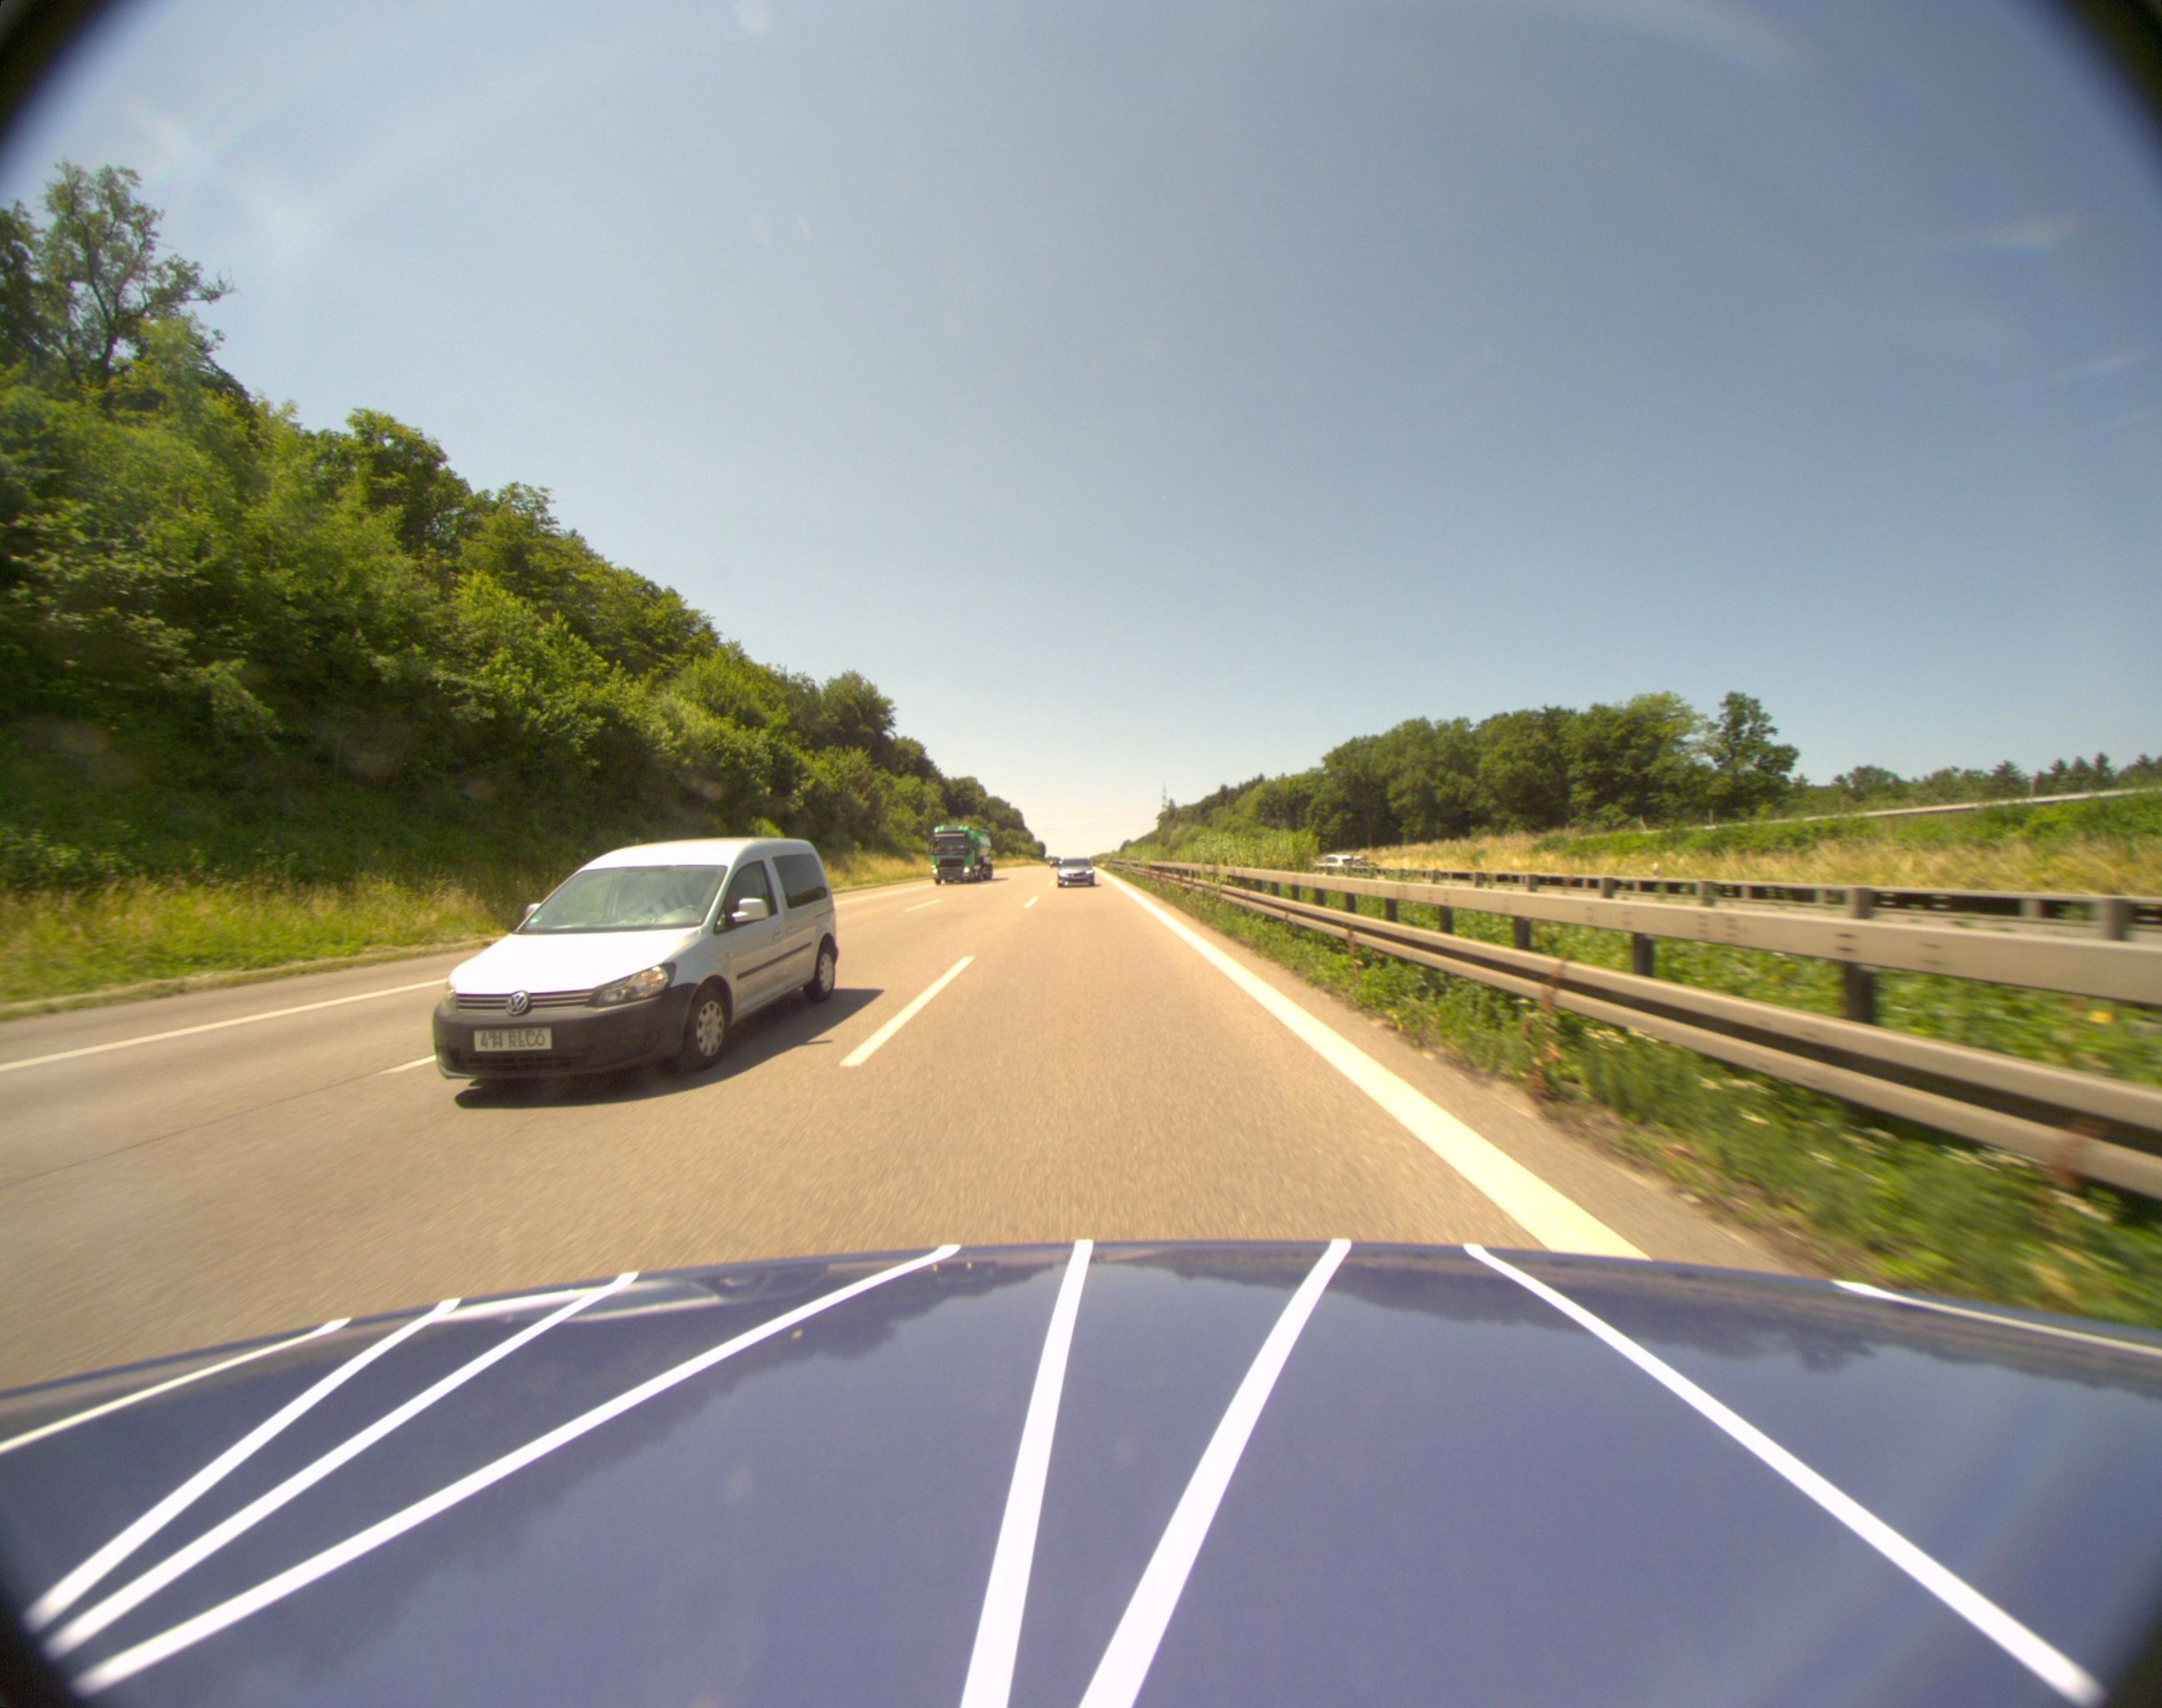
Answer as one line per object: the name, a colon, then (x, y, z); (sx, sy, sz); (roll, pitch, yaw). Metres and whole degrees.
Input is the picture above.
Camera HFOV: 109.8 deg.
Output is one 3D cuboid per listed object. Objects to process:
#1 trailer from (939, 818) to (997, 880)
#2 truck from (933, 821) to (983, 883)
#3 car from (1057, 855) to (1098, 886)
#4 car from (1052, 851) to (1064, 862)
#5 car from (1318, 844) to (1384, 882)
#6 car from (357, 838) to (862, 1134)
trailer: (-8.103, -0.273, 55.975); (2.594, 4.004, 10.471); (-2, -1, 0)
truck: (-8.043, -0.120, 50.236); (2.516, 3.819, 4.892); (-2, 0, -1)
car: (-0.129, 0.822, 38.269); (1.768, 1.400, 4.001); (-2, -1, 3)
car: (-3.606, 0.417, 119.791); (1.788, 1.550, 3.943); (-2, -1, -2)
car: (13.733, 0.466, 38.894); (1.805, 1.805, 4.289); (-2, -1, 1)
car: (-3.673, 0.829, 7.214); (1.750, 1.819, 4.800); (-2, 0, 0)
